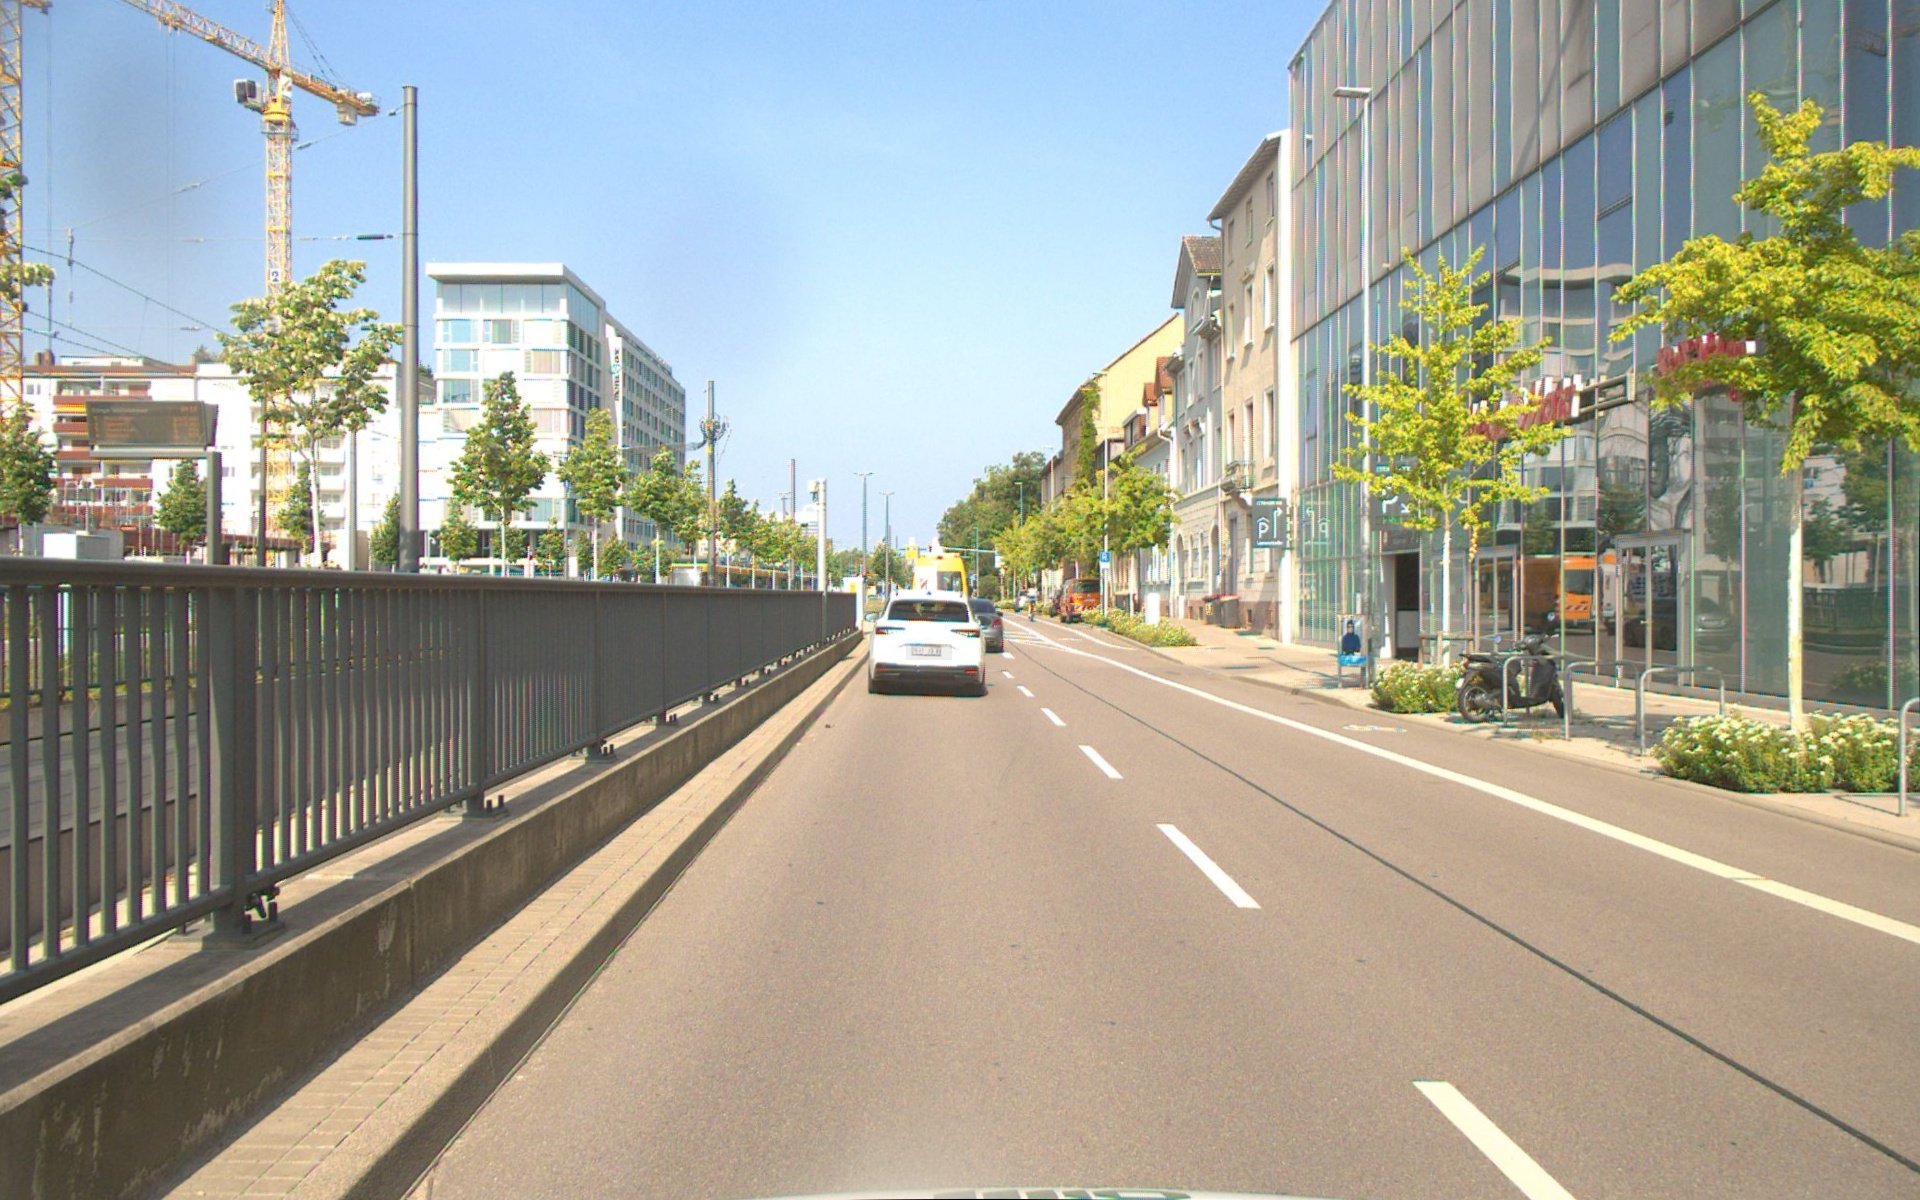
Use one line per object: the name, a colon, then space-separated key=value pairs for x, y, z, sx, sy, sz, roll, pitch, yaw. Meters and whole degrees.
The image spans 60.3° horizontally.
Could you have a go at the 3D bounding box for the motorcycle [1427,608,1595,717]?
motorcycle: x=7.231 y=0.802 z=21.734 sx=1.934 sy=1.373 sz=0.865 roll=0 pitch=0 yaw=-12

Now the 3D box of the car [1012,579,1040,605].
car: x=4.744 y=-0.605 z=119.289 sx=1.776 sy=1.844 sz=3.835 roll=0 pitch=1 yaw=-1

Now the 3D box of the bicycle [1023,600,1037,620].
bicycle: x=3.333 y=0.466 z=78.746 sx=0.642 sy=0.955 sz=1.517 roll=0 pitch=0 yaw=1

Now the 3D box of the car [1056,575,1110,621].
car: x=5.598 y=-0.135 z=75.892 sx=2.021 sy=2.049 sz=4.587 roll=0 pitch=1 yaw=-1

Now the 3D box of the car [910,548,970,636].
car: x=-0.683 y=-0.356 z=57.122 sx=1.979 sy=2.844 sz=5.401 roll=0 pitch=2 yaw=-1

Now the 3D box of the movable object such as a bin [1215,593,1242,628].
movable object such as a bin: x=9.407 y=0.364 z=57.995 sx=0.765 sy=1.192 sz=0.808 roll=0 pitch=2 yaw=-2

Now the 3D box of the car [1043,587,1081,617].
car: x=5.443 y=0.109 z=88.947 sx=1.639 sy=1.509 sz=4.311 roll=-1 pitch=0 yaw=-1

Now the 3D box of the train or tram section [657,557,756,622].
train or tram section: x=-16.142 y=-0.609 z=106.987 sx=2.846 sy=3.740 sz=18.141 roll=2 pitch=0 yaw=2

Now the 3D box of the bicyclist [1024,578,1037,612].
bicyclist: x=3.342 y=-0.253 z=78.587 sx=0.626 sy=1.604 sz=0.771 roll=0 pitch=0 yaw=1

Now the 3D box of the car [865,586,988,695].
car: x=-0.516 y=0.586 z=26.512 sx=1.832 sy=1.602 sz=4.000 roll=0 pitch=0 yaw=-1

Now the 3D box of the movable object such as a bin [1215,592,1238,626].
movable object such as a bin: x=9.489 y=0.333 z=58.967 sx=0.690 sy=1.172 sz=0.671 roll=0 pitch=2 yaw=-2

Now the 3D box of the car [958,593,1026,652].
car: x=0.842 y=0.586 z=45.853 sx=1.724 sy=1.461 sz=4.115 roll=2 pitch=1 yaw=-1

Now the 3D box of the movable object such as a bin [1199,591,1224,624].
movable object such as a bin: x=9.341 y=0.267 z=61.416 sx=0.666 sy=1.172 sz=0.607 roll=-2 pitch=3 yaw=-45
